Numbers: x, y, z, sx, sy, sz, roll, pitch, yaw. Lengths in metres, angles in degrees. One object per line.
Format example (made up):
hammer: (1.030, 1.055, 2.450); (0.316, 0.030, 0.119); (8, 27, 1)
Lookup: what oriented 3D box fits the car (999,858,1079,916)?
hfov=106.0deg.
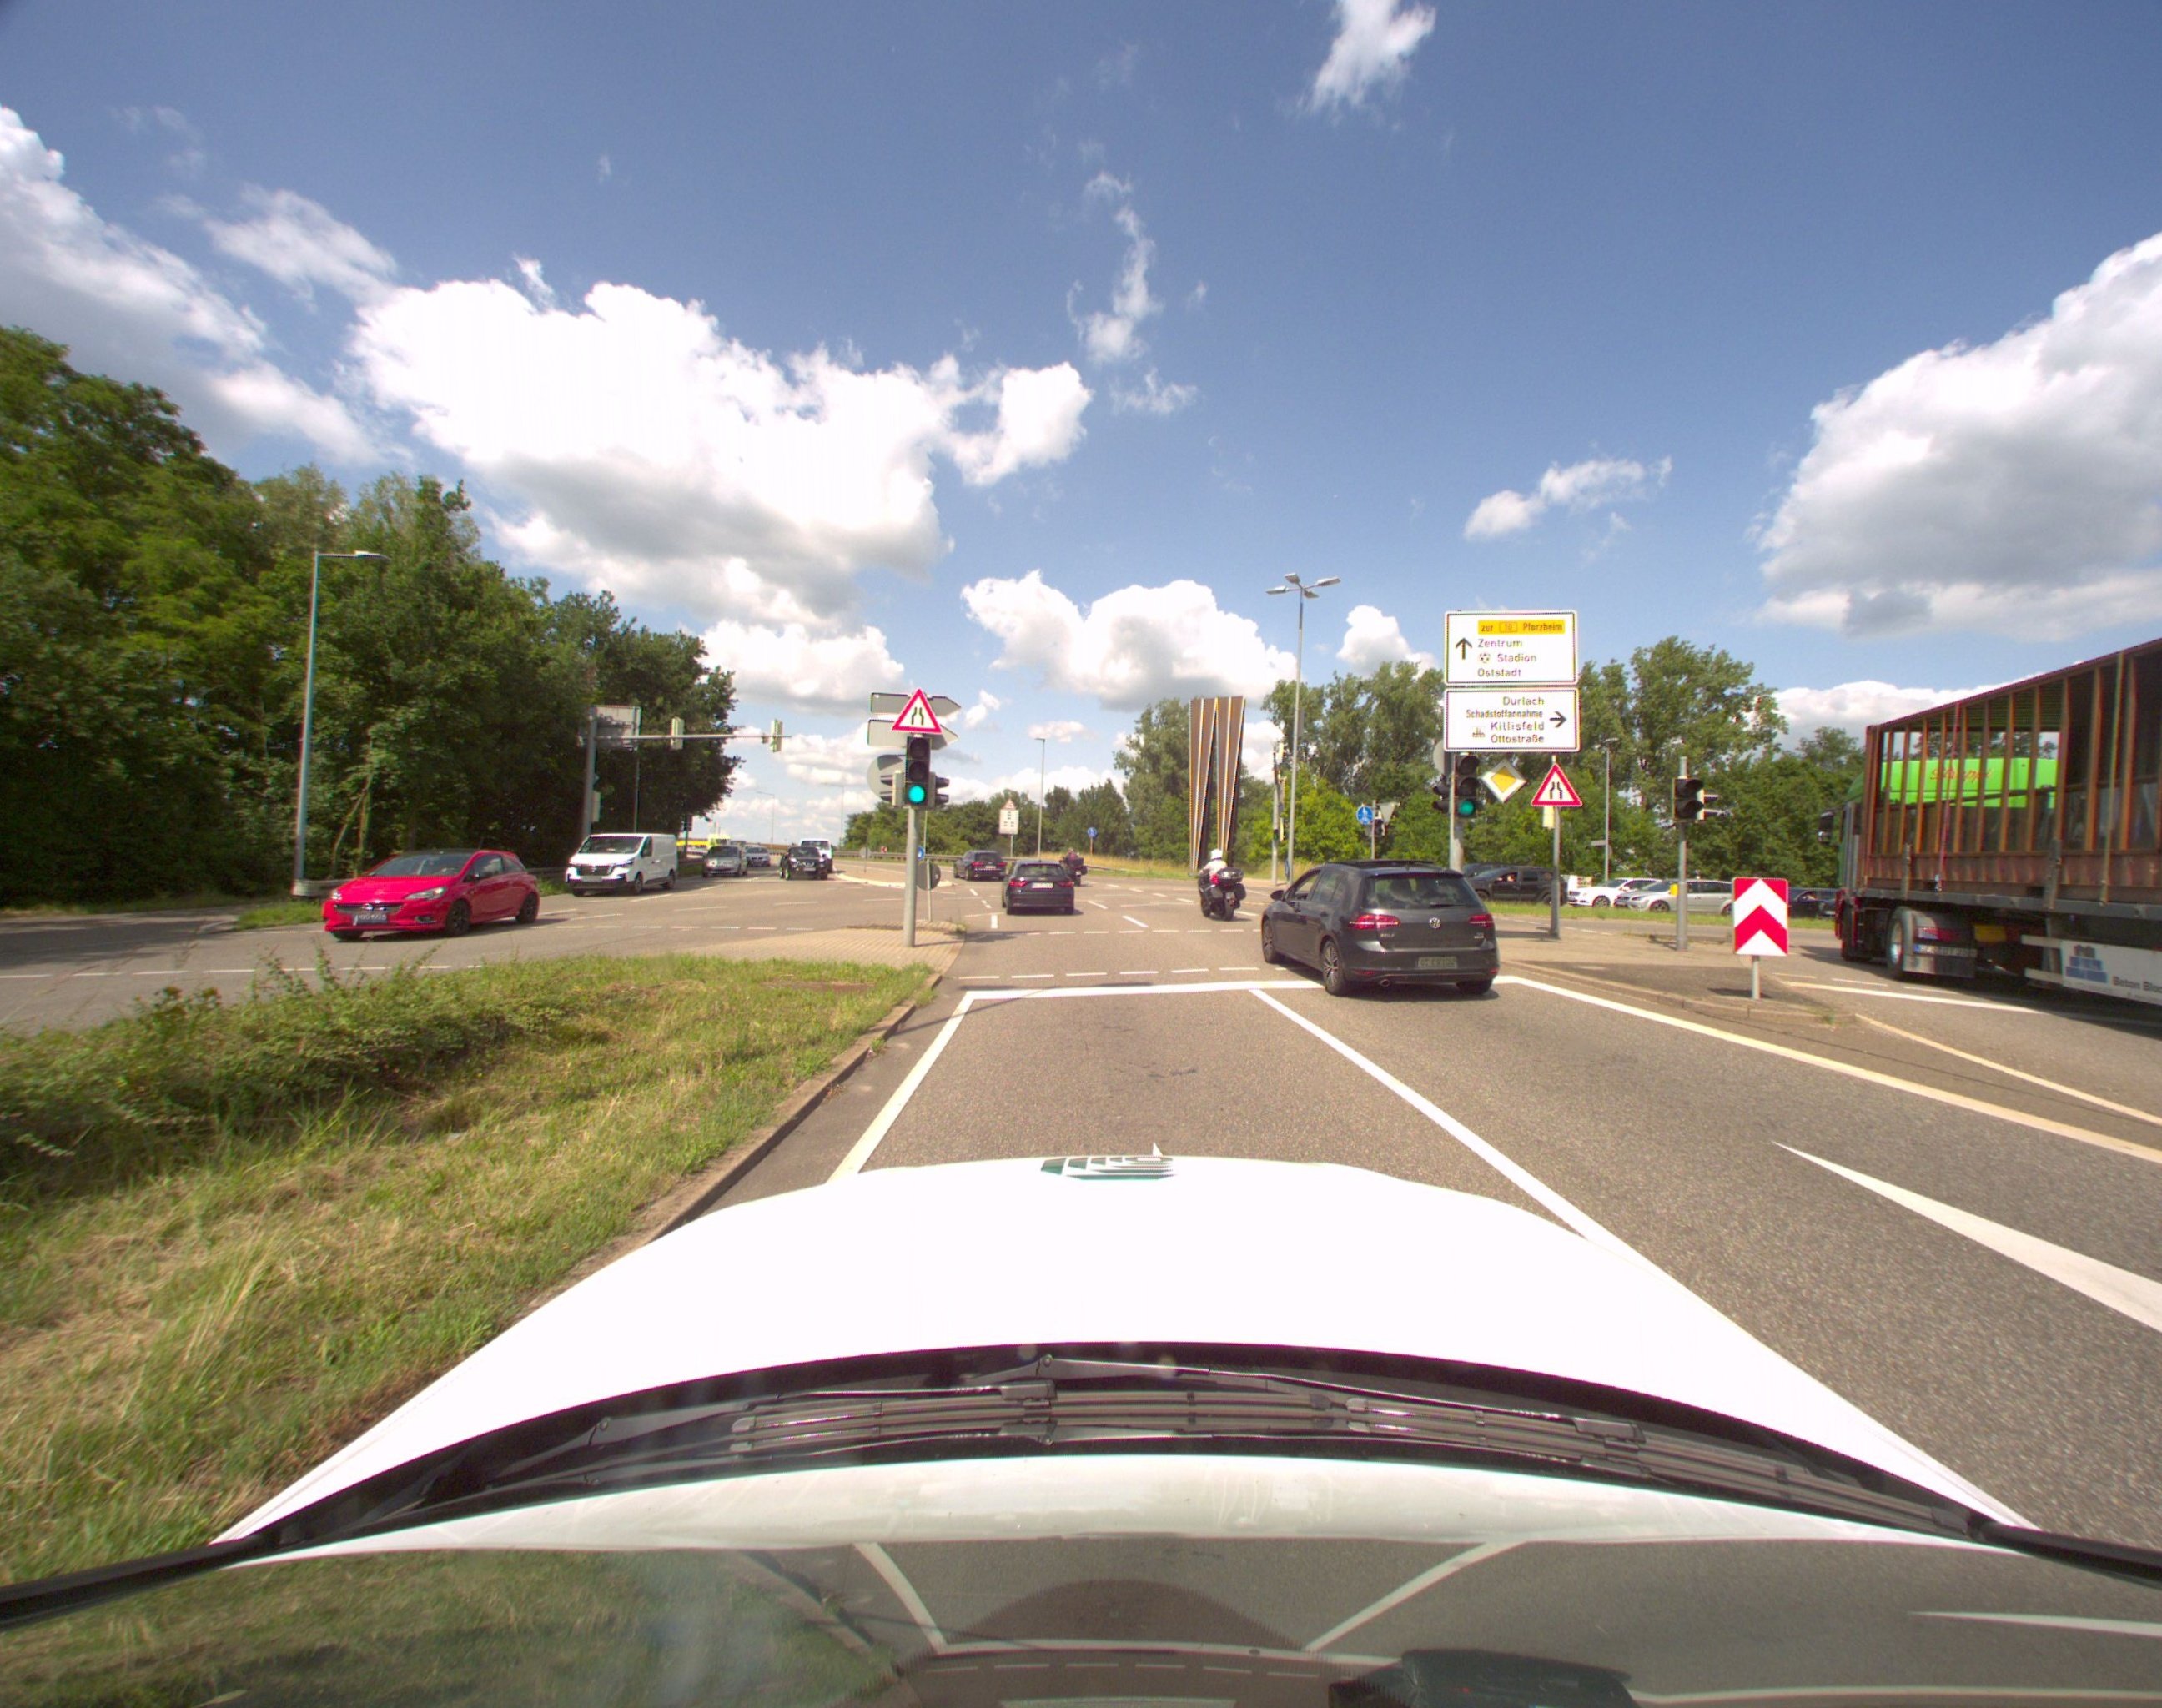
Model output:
car: (-1.210, 0.821, 21.865); (1.682, 1.388, 3.725); (0, 0, -11)

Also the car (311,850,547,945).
car: (-11.263, 0.663, 14.461); (1.582, 1.432, 3.985); (0, 0, -11)

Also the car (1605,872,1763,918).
car: (22.023, 1.475, 29.837); (4.512, 1.375, 1.647); (2, 0, 1)

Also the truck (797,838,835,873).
truck: (-15.295, 0.062, 46.874); (1.967, 1.913, 5.335); (1, 0, -19)

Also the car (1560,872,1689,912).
car: (22.421, 1.561, 33.672); (4.187, 1.375, 1.647); (2, 0, 1)

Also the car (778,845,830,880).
car: (-12.880, 0.358, 37.720); (1.707, 1.557, 3.788); (1, 0, -28)

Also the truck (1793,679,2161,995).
truck: (14.069, -0.169, 13.071); (2.841, 3.903, 5.913); (3, 0, 31)

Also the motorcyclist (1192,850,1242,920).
motorcyclist: (3.260, 0.721, 19.564); (0.963, 1.620, 1.124); (1, -1, -2)

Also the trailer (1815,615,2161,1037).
trailer: (11.059, -0.222, 6.799); (2.616, 3.891, 13.919); (3, 0, 22)

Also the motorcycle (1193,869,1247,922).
motorcycle: (3.274, 0.941, 19.387); (0.787, 1.132, 2.398); (1, 0, -2)

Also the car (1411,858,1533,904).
car: (16.237, 1.098, 33.947); (4.187, 1.645, 1.838); (2, 0, 1)

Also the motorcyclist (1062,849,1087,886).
motorcyclist: (-0.312, 0.585, 36.024); (0.965, 1.596, 1.122); (1, -1, -7)

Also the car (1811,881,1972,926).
car: (29.884, 1.810, 30.132); (4.022, 1.375, 1.881); (2, 0, 1)

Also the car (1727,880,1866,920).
car: (29.491, 1.880, 33.645); (4.187, 1.375, 1.701); (2, 0, 1)

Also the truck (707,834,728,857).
truck: (-42.551, -1.014, 95.365); (2.004, 2.620, 6.052); (-1, 1, -26)

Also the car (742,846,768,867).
car: (-23.817, 0.164, 59.489); (1.689, 1.478, 4.678); (-1, 1, -22)

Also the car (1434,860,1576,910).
car: (15.549, 1.131, 30.028); (4.265, 1.617, 1.845); (2, -1, 1)

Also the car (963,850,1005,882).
car: (-4.794, 0.554, 39.766); (1.644, 1.479, 3.855); (1, 0, -12)

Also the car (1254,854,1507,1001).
car: (3.441, 0.755, 10.154); (1.638, 1.479, 3.869); (1, 0, -2)

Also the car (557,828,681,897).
car: (-14.944, 0.246, 26.709); (1.995, 2.013, 5.114); (-1, 0, -12)

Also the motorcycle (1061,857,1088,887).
motorcycle: (-0.301, 0.755, 35.957); (0.887, 1.247, 2.393); (1, 0, -7)

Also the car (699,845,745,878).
car: (-17.855, 0.358, 40.678); (1.738, 1.521, 4.042); (-1, 0, -19)
